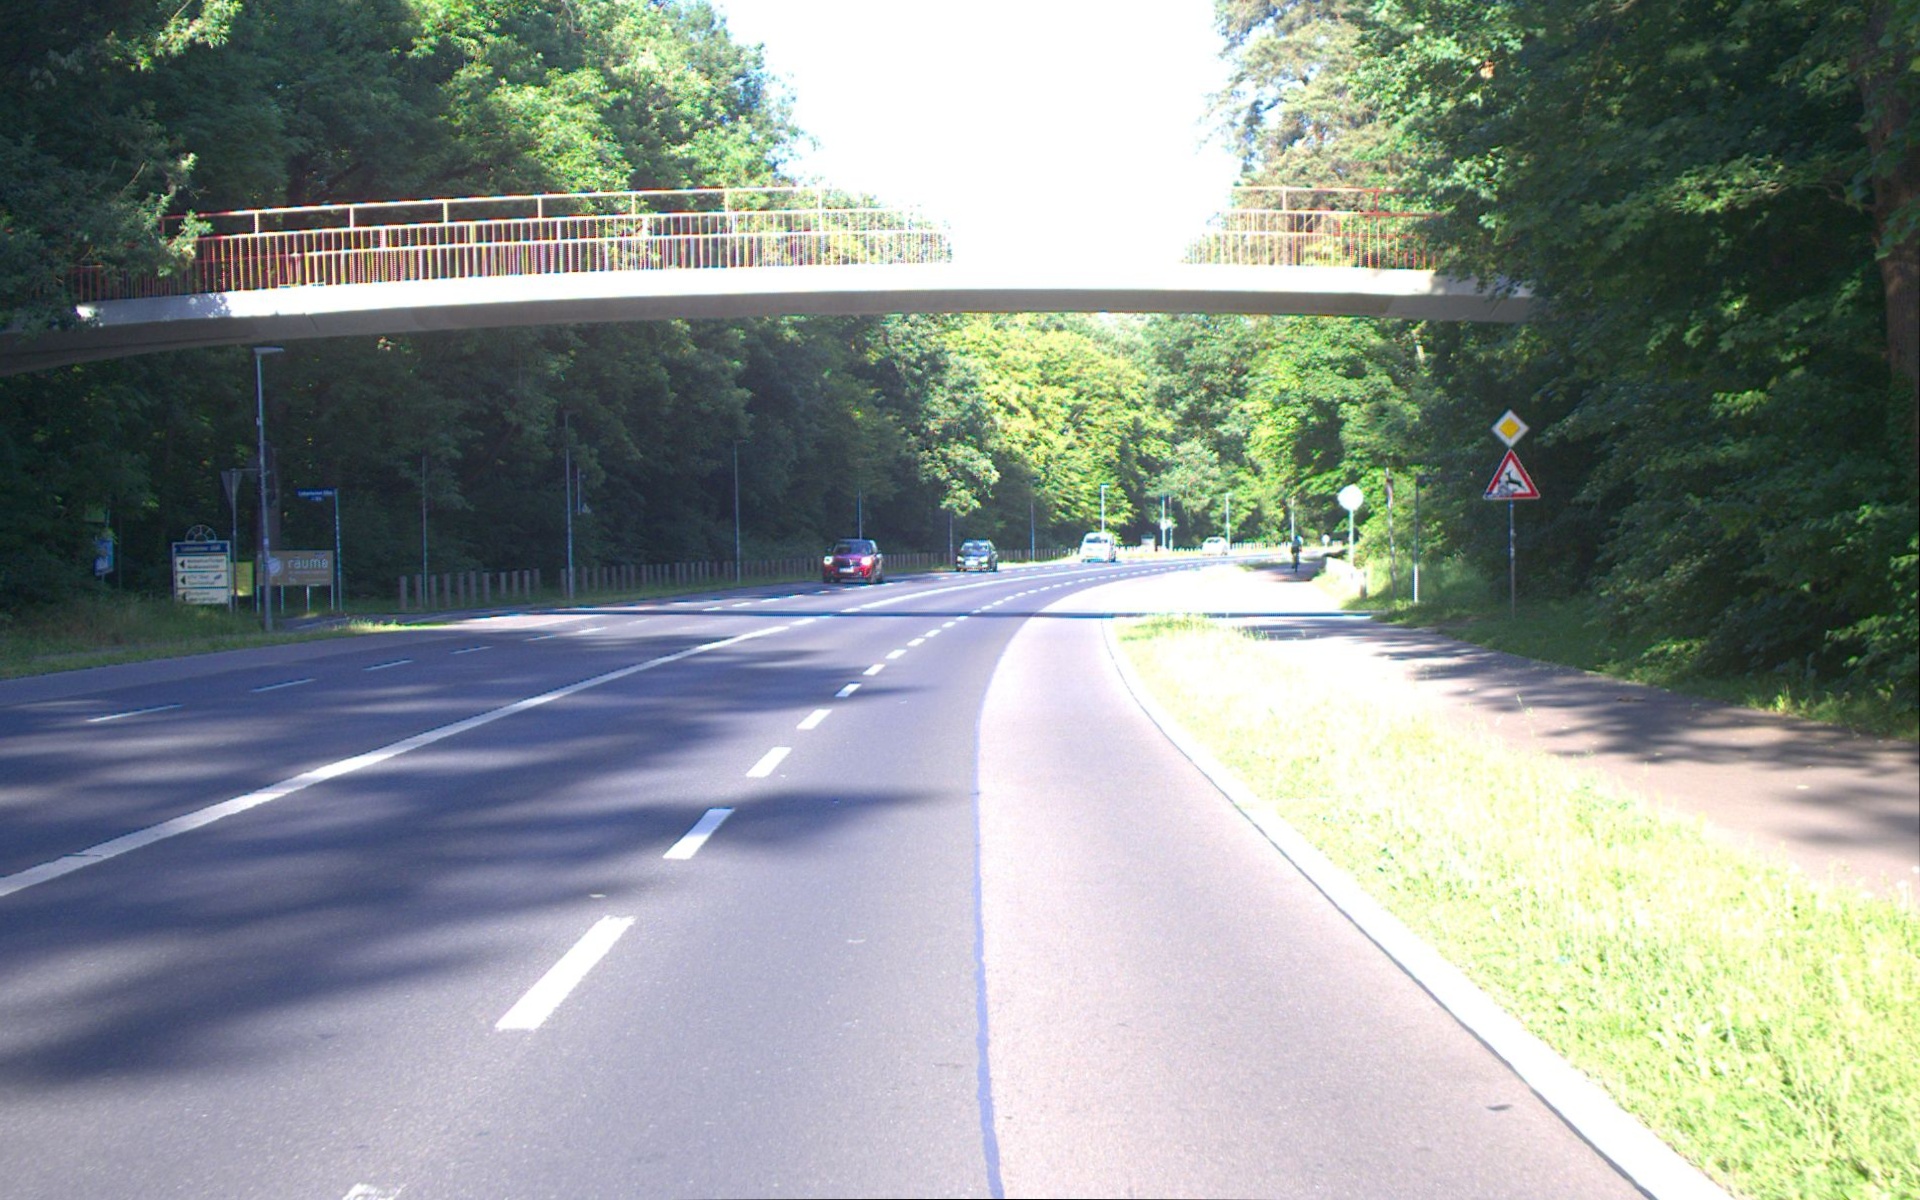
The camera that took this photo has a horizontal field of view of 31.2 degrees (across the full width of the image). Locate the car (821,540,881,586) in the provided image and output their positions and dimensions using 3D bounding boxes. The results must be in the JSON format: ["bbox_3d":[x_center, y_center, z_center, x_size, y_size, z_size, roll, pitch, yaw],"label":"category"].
[{"bbox_3d":[-3.874,-1.329,122.246,1.762,1.577,4.168,1,1,3],"label":"car"}]

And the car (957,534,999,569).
[{"bbox_3d":[0.869,-2.300,161.654,1.722,1.568,4.177,1,1,4],"label":"car"}]

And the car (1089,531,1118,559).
[{"bbox_3d":[8.767,-3.378,209.964,1.705,1.703,4.000,0,1,3],"label":"car"}]
